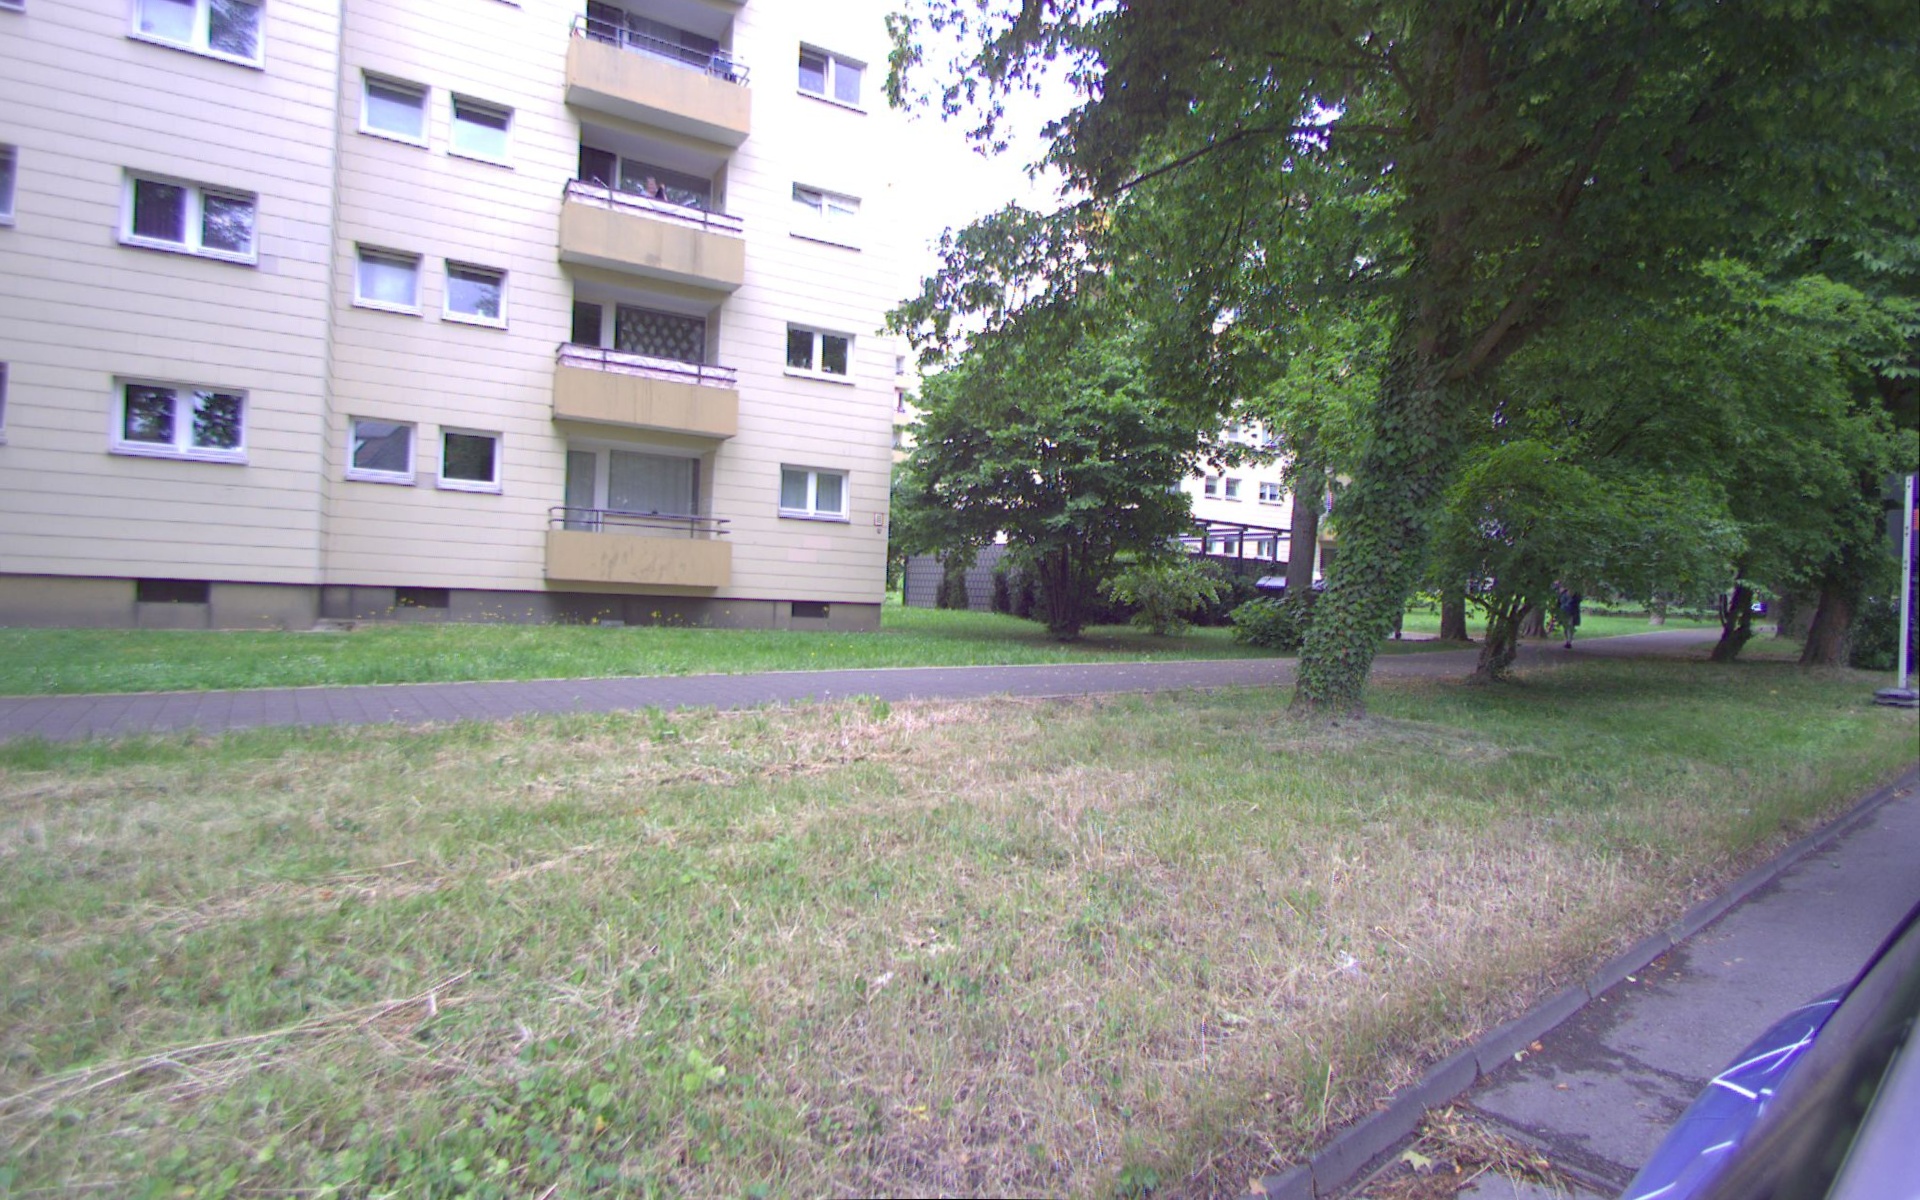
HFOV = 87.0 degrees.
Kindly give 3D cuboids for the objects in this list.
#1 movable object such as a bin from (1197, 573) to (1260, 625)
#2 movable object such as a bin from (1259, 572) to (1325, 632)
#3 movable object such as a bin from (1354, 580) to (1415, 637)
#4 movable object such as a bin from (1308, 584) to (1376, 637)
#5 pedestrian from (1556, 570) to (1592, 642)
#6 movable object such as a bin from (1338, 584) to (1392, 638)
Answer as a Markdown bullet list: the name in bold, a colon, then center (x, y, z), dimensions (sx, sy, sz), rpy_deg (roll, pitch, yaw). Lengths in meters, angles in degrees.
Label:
- **movable object such as a bin**: center (7.409, -0.024, 27.920), dimensions (1.190, 1.358, 1.328), rpy_deg (3, 2, 41)
- **movable object such as a bin**: center (8.672, 0.035, 26.448), dimensions (1.190, 1.475, 1.328), rpy_deg (3, 2, 41)
- **movable object such as a bin**: center (11.350, 0.213, 27.069), dimensions (1.190, 1.431, 1.094), rpy_deg (3, 2, 41)
- **movable object such as a bin**: center (9.661, 0.251, 25.577), dimensions (1.190, 1.236, 1.328), rpy_deg (3, 2, 41)
- **pedestrian**: center (15.360, 0.152, 25.316), dimensions (0.560, 1.761, 0.565), rpy_deg (1, 2, -41)
- **movable object such as a bin**: center (10.549, 0.272, 26.351), dimensions (1.022, 1.320, 0.946), rpy_deg (3, 2, 41)
